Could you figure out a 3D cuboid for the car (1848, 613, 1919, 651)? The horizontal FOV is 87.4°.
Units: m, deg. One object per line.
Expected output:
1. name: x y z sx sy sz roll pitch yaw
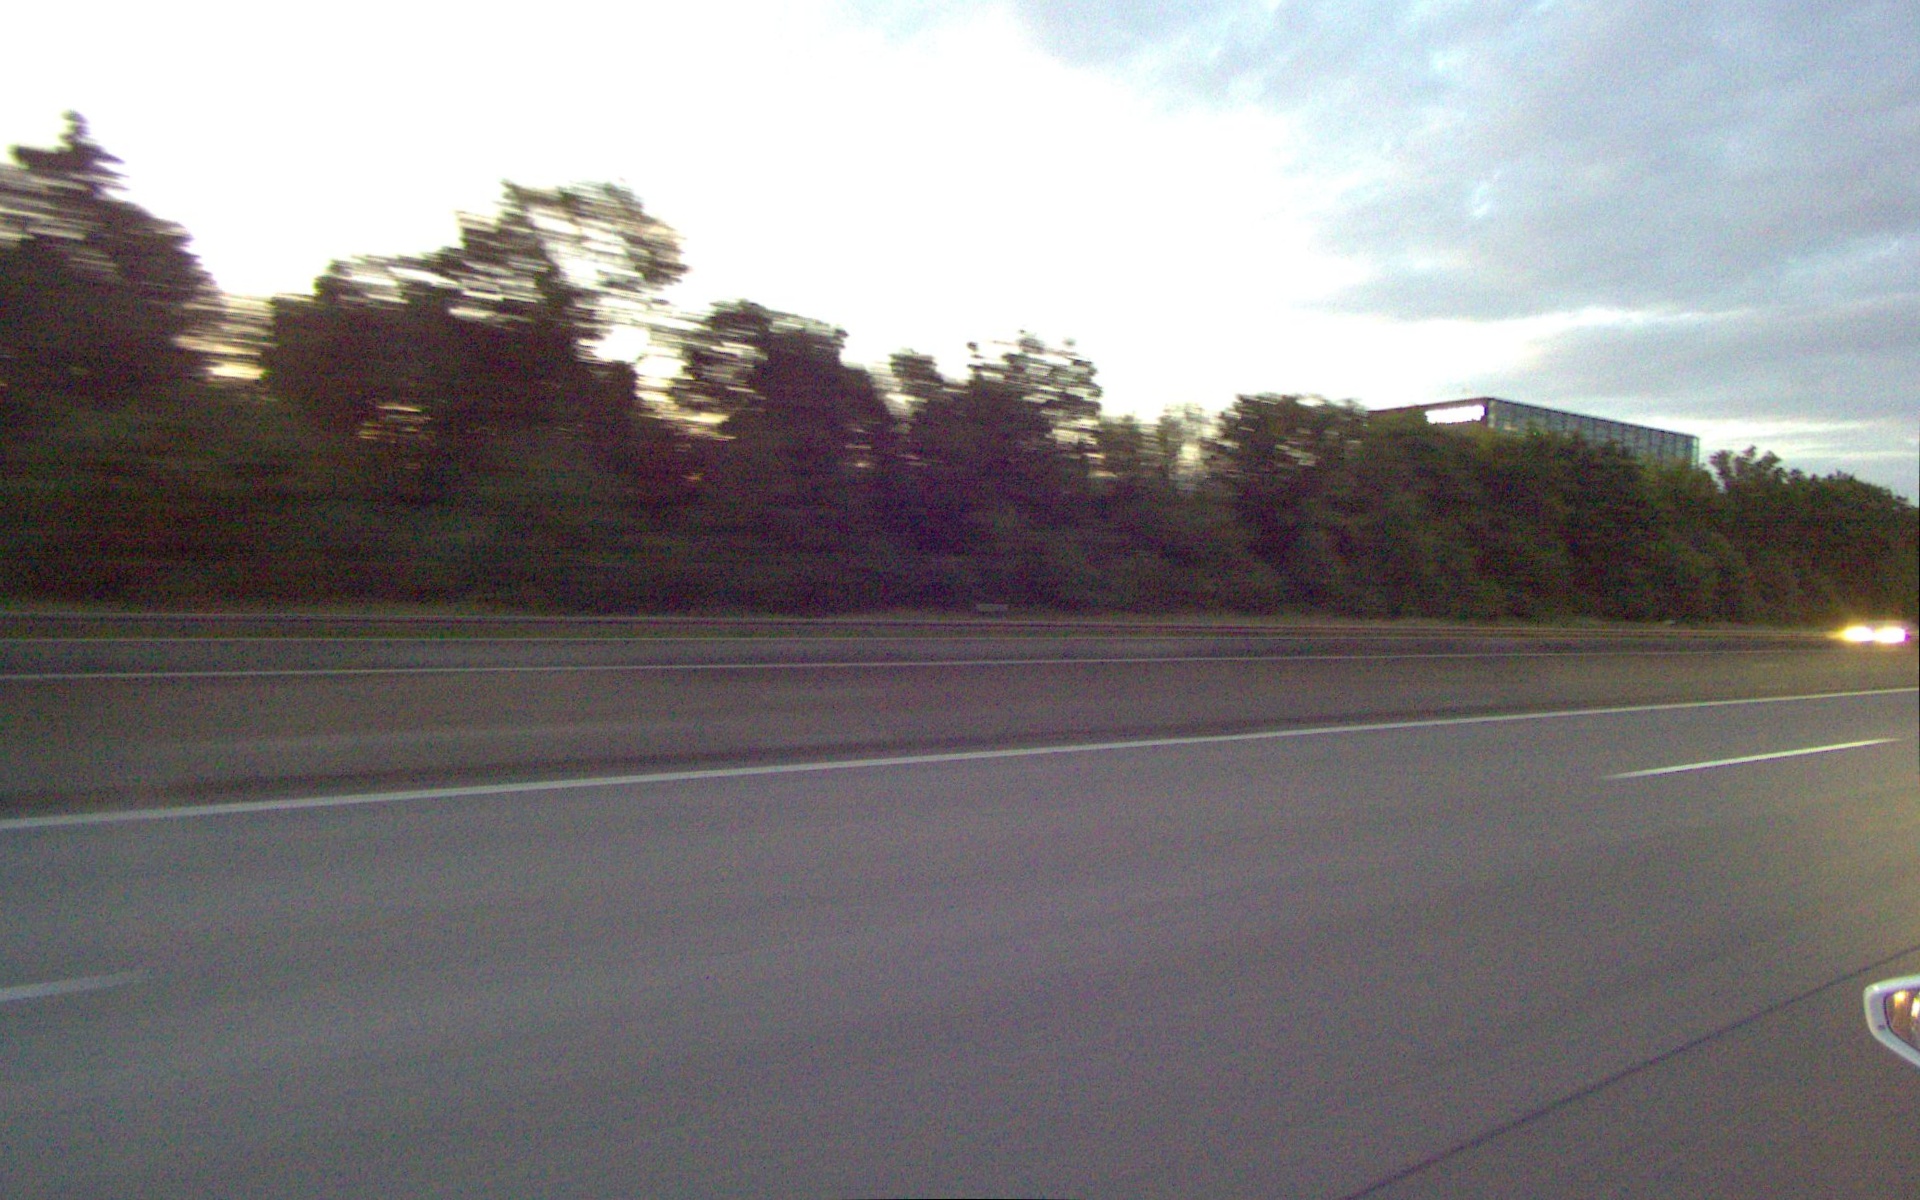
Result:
1. car: 48.024 1.656 51.831 4.786 1.814 1.983 2 0 -32
